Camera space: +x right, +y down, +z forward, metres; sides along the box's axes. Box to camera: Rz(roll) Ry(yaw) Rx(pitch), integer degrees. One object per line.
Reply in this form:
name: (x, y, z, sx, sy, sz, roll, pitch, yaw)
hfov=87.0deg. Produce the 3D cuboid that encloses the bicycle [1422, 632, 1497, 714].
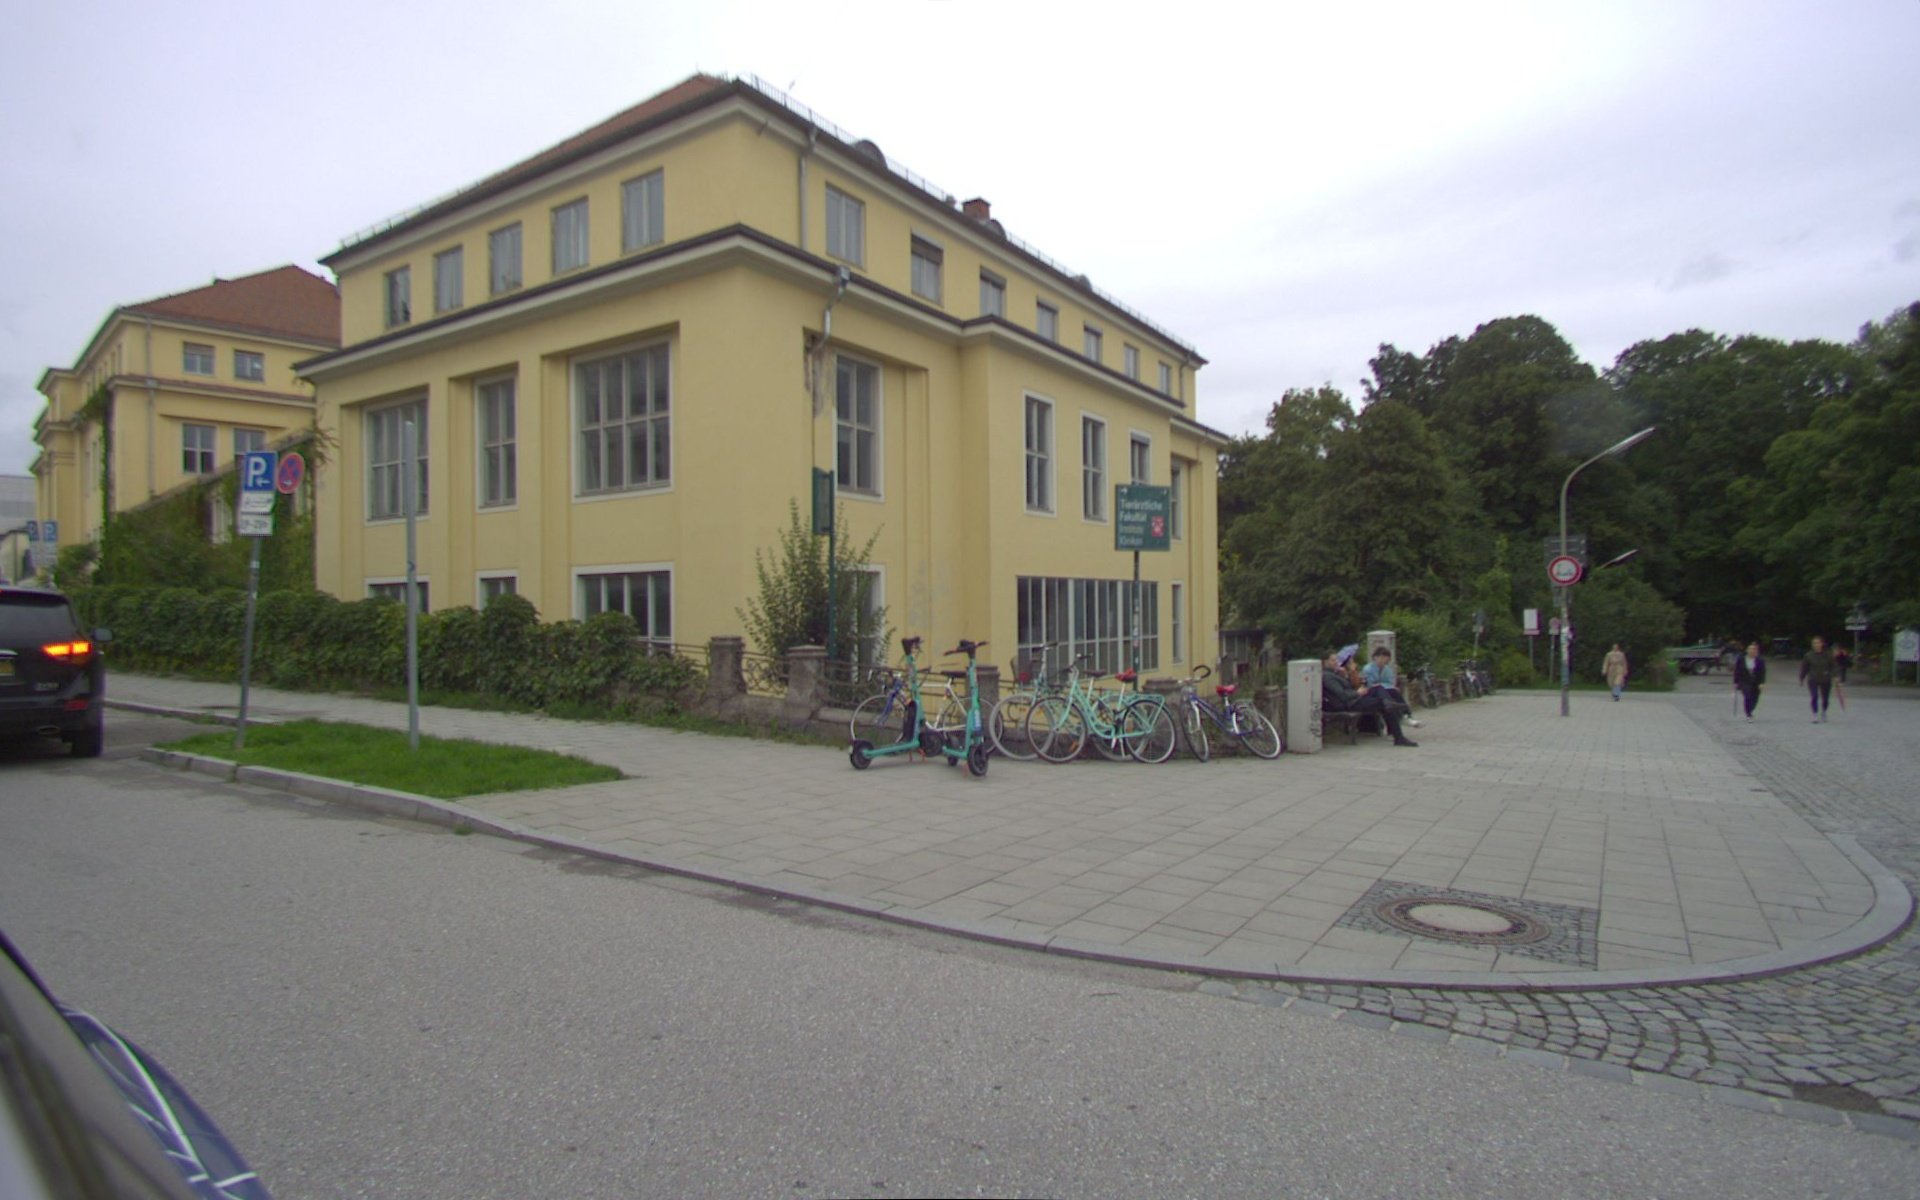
bicycle: (11.207, 1.573, 22.841, 1.044, 1.674, 3.133, -1, -1, 18)

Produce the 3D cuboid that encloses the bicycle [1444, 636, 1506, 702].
bicycle: (14.391, 1.875, 28.379, 1.044, 1.674, 3.133, -1, -1, 18)

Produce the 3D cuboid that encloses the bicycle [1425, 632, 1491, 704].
bicycle: (12.609, 1.666, 25.745, 1.044, 1.674, 2.986, -1, -1, 18)

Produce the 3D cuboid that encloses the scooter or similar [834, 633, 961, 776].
scooter or similar: (-0.584, 0.962, 9.712, 1.245, 1.253, 0.395, 1, 0, -44)

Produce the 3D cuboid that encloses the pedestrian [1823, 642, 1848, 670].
pedestrian: (53.833, 3.446, 62.243, 0.874, 1.665, 0.729, -1, -2, 17)

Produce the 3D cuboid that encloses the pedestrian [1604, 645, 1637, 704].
pedestrian: (19.802, 2.214, 30.361, 0.747, 1.719, 1.100, -1, -1, 31)

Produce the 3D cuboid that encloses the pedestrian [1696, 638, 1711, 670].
pedestrian: (49.063, 3.558, 66.784, 0.695, 2.029, 0.710, -2, -3, 34)

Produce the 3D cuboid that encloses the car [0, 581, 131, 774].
car: (-10.309, 0.741, 10.674, 1.971, 1.732, 4.617, 1, -2, -45)

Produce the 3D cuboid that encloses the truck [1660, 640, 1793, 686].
truck: (43.246, 3.545, 57.257, 5.430, 2.480, 2.394, -1, -1, 9)

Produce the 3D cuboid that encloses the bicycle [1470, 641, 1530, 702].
bicycle: (16.241, 2.097, 30.517, 1.044, 1.674, 3.133, -1, -1, 18)

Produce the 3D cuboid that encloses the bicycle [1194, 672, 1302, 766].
bicycle: (3.271, 1.325, 11.474, 1.254, 0.985, 0.415, 1, -2, -30)

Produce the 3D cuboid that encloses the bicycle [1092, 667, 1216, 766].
bicycle: (2.079, 1.229, 10.847, 1.254, 0.985, 0.415, 1, -2, -19)

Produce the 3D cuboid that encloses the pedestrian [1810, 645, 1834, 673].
pedestrian: (52.505, 3.572, 61.648, 0.721, 1.665, 0.885, 1, -2, -31)

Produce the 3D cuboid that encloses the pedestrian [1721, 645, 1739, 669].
pedestrian: (47.680, 3.522, 62.666, 0.618, 1.506, 0.665, 1, -2, -36)

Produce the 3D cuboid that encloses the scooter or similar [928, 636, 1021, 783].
scooter or similar: (0.116, 0.973, 9.372, 0.432, 1.221, 1.057, 1, 0, -24)

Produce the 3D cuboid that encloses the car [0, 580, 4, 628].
car: (-20.637, 0.616, 19.846, 4.614, 1.994, 1.907, -1, -4, 37)

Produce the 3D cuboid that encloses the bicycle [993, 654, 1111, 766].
bicycle: (0.959, 1.127, 10.523, 1.171, 1.119, 0.302, 1, -1, -15)

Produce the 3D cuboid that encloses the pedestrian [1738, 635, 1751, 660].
pedestrian: (48.066, 2.906, 61.994, 0.538, 1.506, 0.538, -1, -2, 31)

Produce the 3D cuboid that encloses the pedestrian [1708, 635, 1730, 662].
pedestrian: (56.124, 3.576, 74.855, 1.047, 2.029, 1.137, -1, -2, 28)

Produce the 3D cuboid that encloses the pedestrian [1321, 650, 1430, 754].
pedestrian: (5.567, 1.332, 13.559, 1.260, 1.278, 0.842, -1, -1, 28)

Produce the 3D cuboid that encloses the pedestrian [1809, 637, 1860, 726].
pedestrian: (17.279, 1.591, 20.019, 0.659, 1.710, 0.742, -1, -2, 36)

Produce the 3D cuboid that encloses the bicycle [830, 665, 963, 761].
bicycle: (-0.663, 1.171, 10.647, 1.318, 0.900, 0.432, 1, 0, 16)

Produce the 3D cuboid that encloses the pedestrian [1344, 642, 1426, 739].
pedestrian: (6.310, 1.311, 15.016, 1.028, 1.345, 0.947, -1, -1, 28)

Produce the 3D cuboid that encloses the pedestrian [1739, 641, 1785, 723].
pedestrian: (16.338, 1.650, 20.625, 0.691, 1.593, 0.742, -2, -2, 38)

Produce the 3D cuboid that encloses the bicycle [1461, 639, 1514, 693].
bicycle: (17.988, 2.217, 34.592, 1.044, 1.674, 3.134, -1, -1, 17)

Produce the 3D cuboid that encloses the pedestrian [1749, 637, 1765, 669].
pedestrian: (50.933, 3.386, 64.698, 0.695, 2.029, 0.710, -2, -3, 34)
